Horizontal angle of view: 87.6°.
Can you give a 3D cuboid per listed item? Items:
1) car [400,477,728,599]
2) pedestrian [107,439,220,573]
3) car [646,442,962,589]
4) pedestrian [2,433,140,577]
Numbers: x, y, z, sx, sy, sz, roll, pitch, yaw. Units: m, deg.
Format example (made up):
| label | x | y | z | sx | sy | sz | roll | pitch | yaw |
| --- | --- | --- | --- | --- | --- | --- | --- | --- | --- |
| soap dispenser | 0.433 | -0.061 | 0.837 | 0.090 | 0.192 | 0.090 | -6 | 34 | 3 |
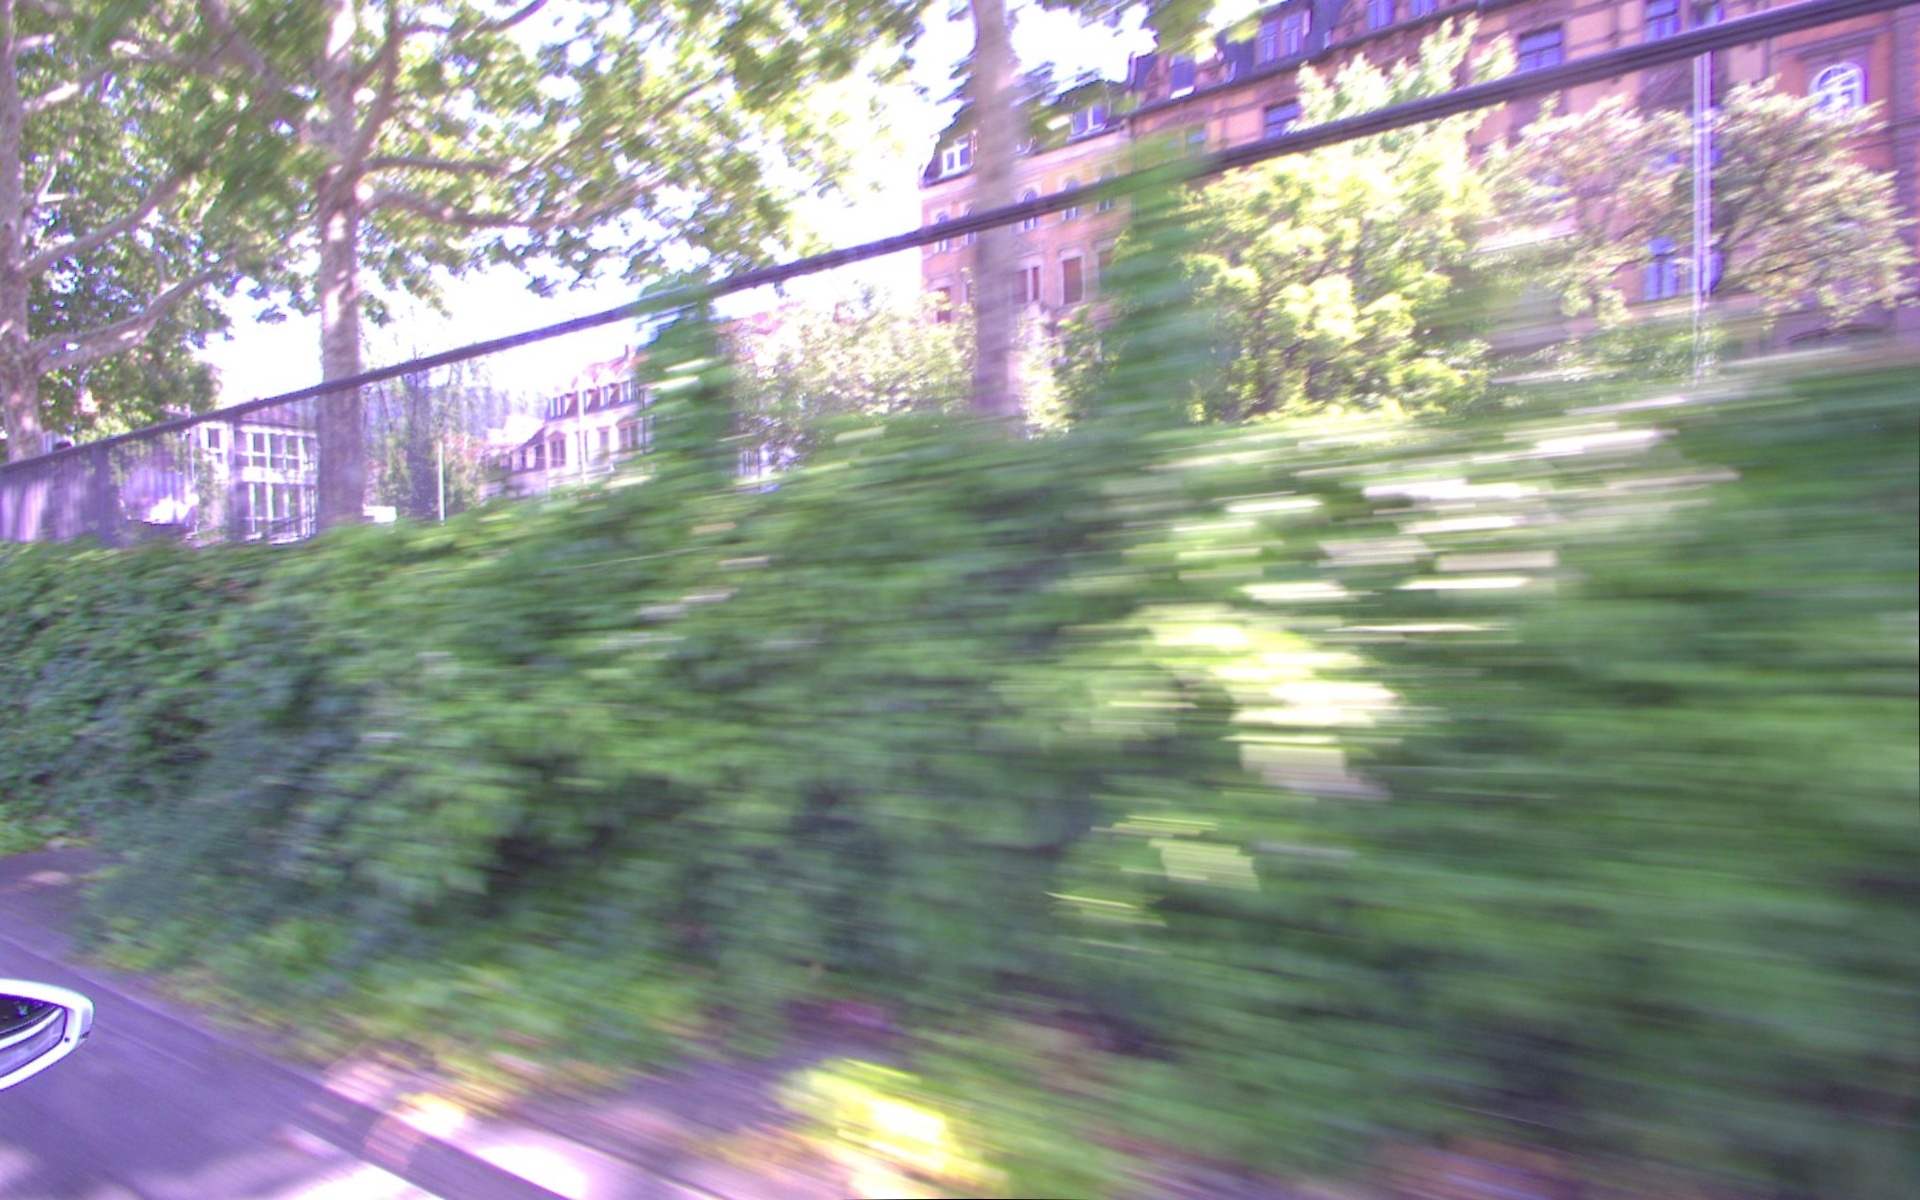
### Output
| label | x | y | z | sx | sy | sz | roll | pitch | yaw |
| --- | --- | --- | --- | --- | --- | --- | --- | --- | --- |
| car | -4.678 | -0.741 | 12.296 | 1.492 | 1.252 | 3.513 | 0 | 3 | 32 |
| pedestrian | -8.765 | -1.013 | 11.027 | 0.782 | 1.385 | 0.642 | 0 | 4 | 29 |
| car | -1.465 | -0.846 | 10.838 | 1.646 | 1.252 | 3.724 | -1 | 3 | 23 |
| pedestrian | -9.108 | -0.947 | 10.272 | 0.802 | 1.385 | 0.751 | 0 | 4 | 29 |
